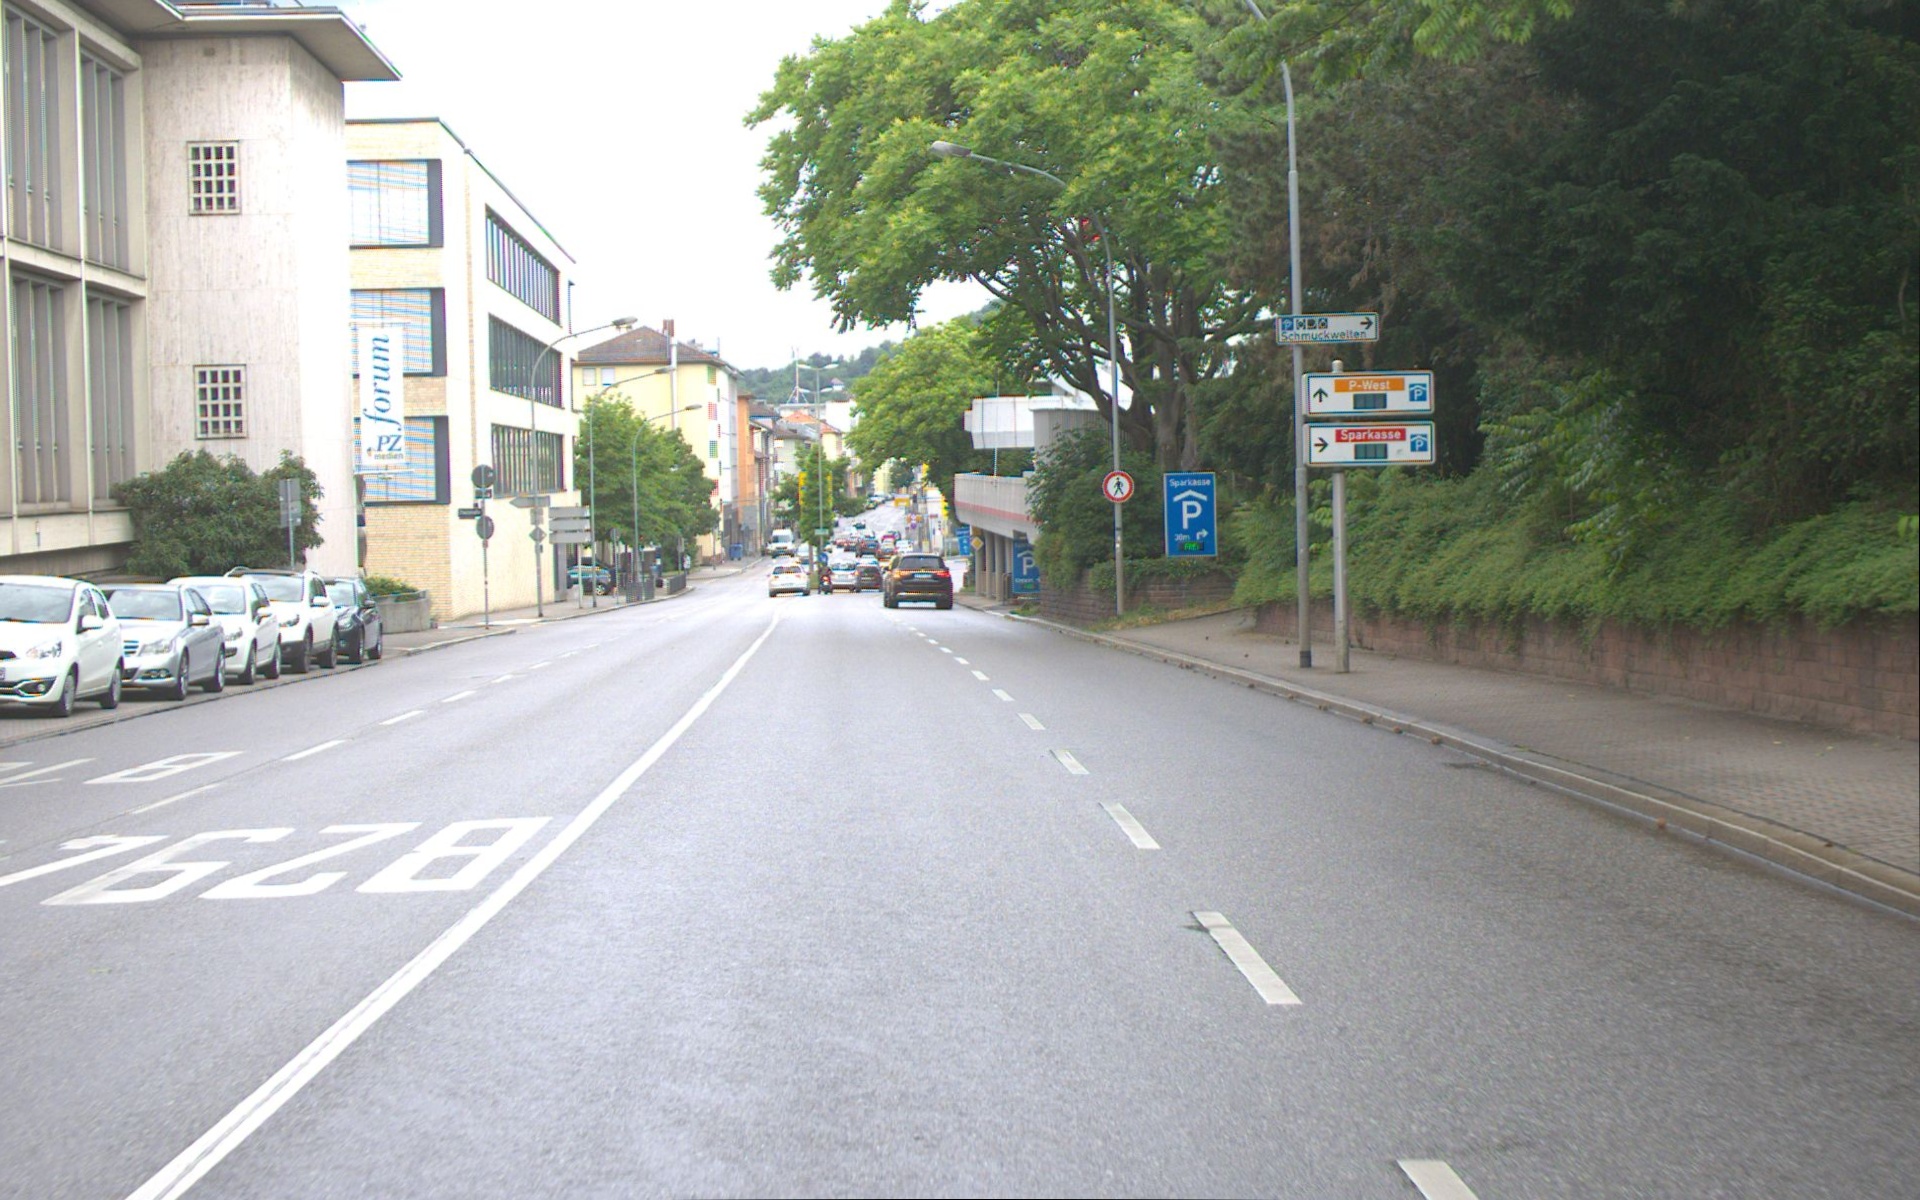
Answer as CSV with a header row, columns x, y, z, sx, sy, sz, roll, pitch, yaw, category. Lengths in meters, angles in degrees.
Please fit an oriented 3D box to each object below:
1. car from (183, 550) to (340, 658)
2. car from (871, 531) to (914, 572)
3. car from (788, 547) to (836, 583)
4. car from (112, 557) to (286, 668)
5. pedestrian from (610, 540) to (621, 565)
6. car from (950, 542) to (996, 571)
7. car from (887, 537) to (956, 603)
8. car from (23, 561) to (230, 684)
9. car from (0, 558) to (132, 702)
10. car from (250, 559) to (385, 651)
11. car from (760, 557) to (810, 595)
x,y,z,sx,sy,sz,roll,pitch,yaw,category
-10.964,0.026,54.214,1.748,1.592,4.182,1,1,-2,car
-3.255,-2.335,165.354,1.993,1.831,4.001,-2,2,-1,car
-7.093,-1.673,164.129,1.993,1.674,4.001,0,1,-7,car
-10.774,0.147,48.903,1.748,1.449,4.182,1,1,-3,car
-17.759,-2.457,177.176,0.454,1.274,0.454,-1,1,9,pedestrian
0.810,-2.614,206.017,1.994,1.674,3.998,-1,1,11,car
-1.265,-0.989,110.116,2.091,1.904,4.100,-2,2,-1,car
-10.463,0.250,43.445,1.748,1.430,4.487,1,0,-3,car
-10.461,0.294,38.218,1.679,1.517,3.921,0,1,-2,car
-11.057,0.062,59.400,1.748,1.475,4.182,1,1,-3,car
-7.962,-1.115,156.234,1.993,1.674,4.001,0,1,-7,car
